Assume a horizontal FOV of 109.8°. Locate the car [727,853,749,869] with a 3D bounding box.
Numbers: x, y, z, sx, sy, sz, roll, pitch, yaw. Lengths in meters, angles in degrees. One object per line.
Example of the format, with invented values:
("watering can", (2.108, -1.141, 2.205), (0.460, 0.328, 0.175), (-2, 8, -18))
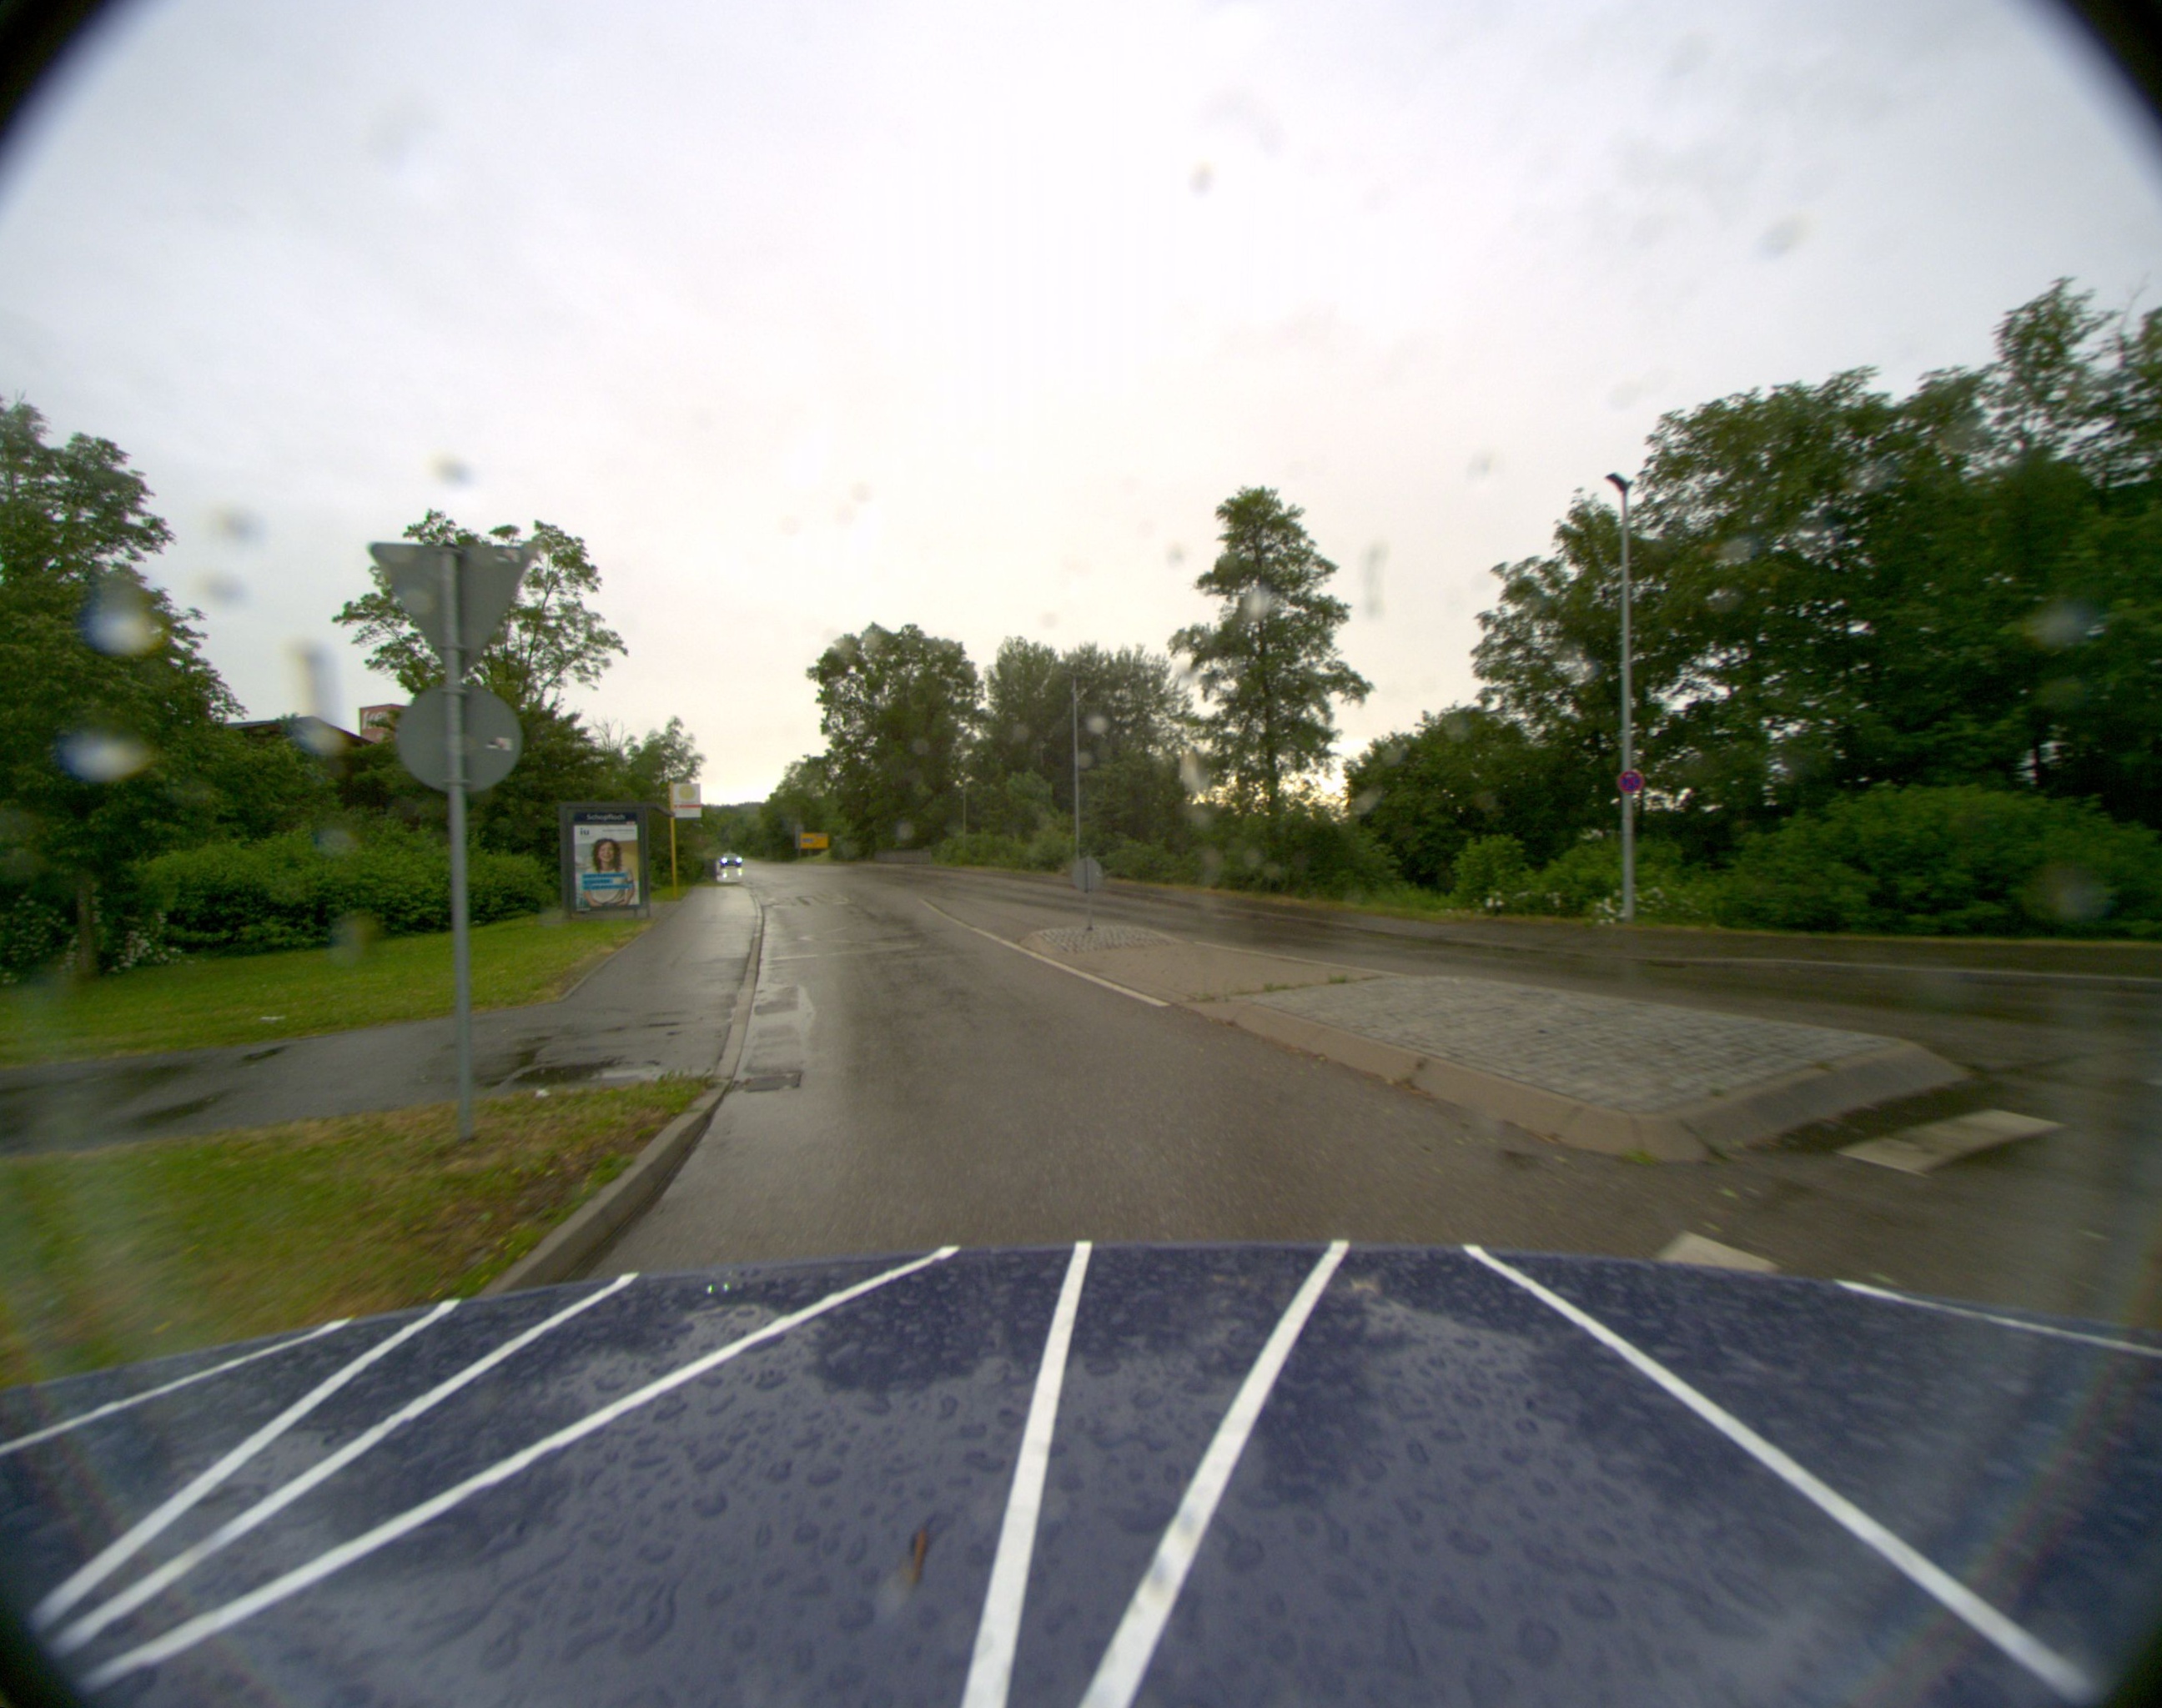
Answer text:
("car", (-35.811, 0.704, 79.396), (1.859, 1.481, 4.113), (-2, 1, -21))
